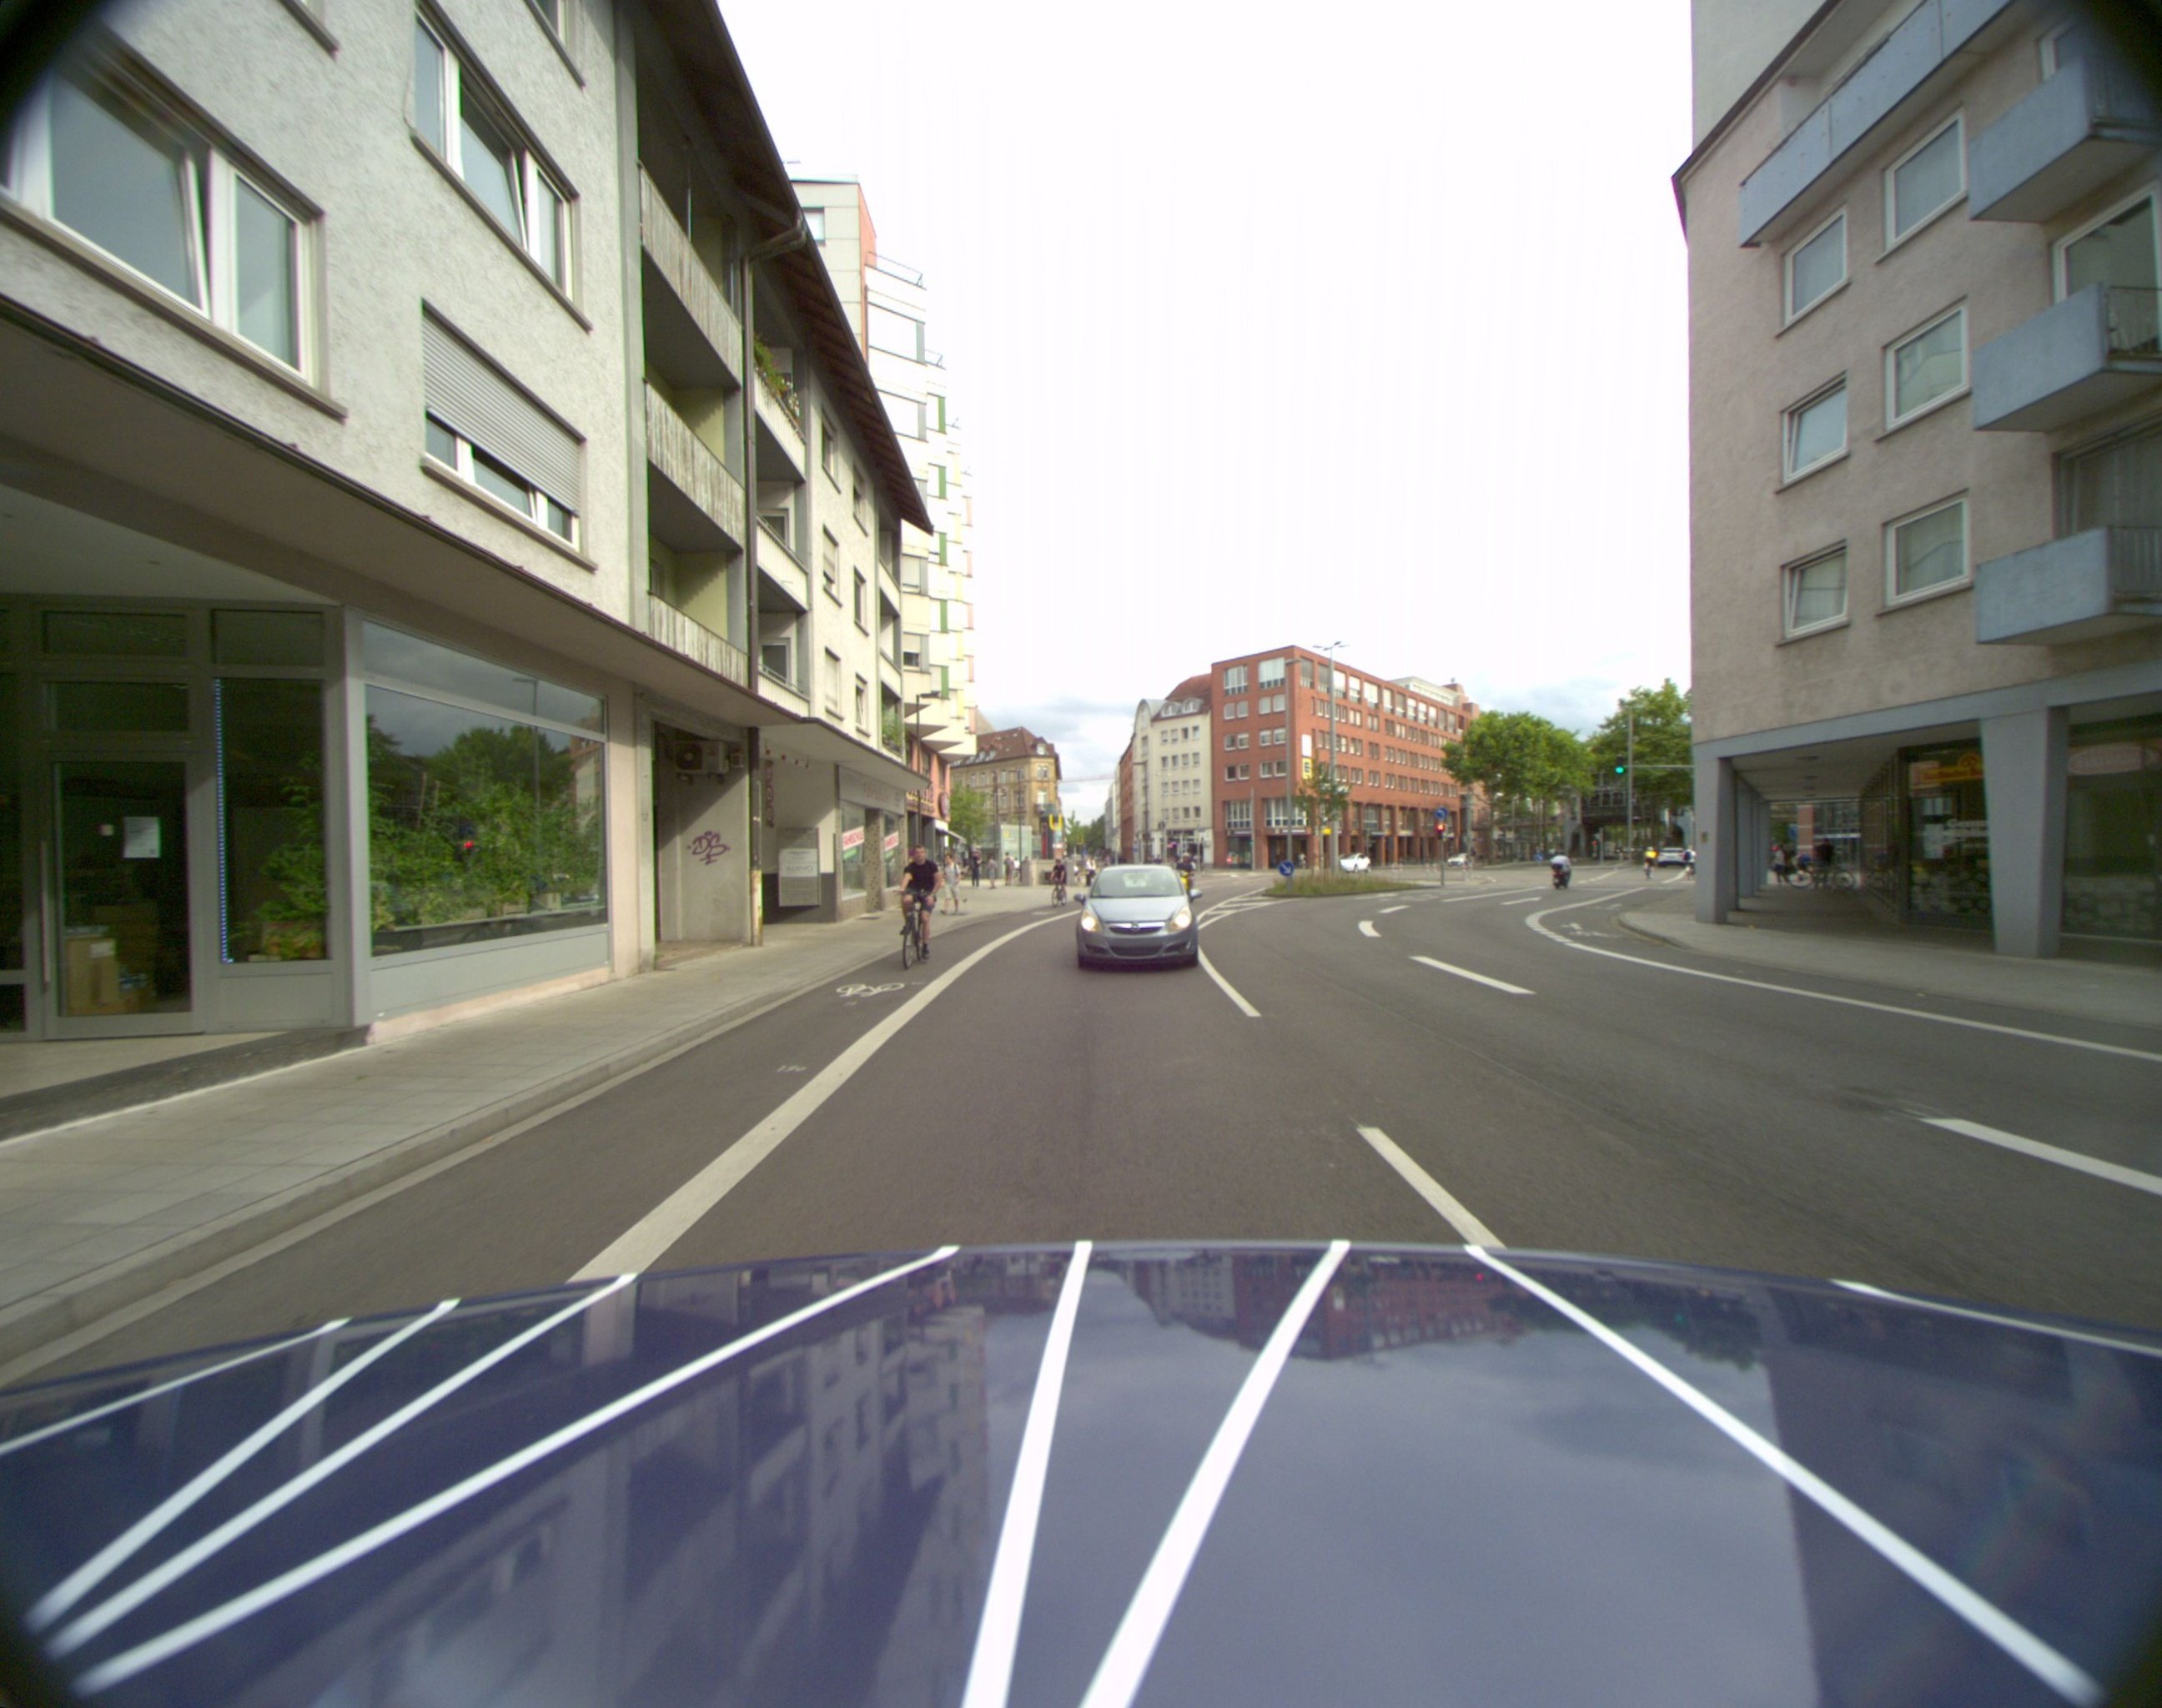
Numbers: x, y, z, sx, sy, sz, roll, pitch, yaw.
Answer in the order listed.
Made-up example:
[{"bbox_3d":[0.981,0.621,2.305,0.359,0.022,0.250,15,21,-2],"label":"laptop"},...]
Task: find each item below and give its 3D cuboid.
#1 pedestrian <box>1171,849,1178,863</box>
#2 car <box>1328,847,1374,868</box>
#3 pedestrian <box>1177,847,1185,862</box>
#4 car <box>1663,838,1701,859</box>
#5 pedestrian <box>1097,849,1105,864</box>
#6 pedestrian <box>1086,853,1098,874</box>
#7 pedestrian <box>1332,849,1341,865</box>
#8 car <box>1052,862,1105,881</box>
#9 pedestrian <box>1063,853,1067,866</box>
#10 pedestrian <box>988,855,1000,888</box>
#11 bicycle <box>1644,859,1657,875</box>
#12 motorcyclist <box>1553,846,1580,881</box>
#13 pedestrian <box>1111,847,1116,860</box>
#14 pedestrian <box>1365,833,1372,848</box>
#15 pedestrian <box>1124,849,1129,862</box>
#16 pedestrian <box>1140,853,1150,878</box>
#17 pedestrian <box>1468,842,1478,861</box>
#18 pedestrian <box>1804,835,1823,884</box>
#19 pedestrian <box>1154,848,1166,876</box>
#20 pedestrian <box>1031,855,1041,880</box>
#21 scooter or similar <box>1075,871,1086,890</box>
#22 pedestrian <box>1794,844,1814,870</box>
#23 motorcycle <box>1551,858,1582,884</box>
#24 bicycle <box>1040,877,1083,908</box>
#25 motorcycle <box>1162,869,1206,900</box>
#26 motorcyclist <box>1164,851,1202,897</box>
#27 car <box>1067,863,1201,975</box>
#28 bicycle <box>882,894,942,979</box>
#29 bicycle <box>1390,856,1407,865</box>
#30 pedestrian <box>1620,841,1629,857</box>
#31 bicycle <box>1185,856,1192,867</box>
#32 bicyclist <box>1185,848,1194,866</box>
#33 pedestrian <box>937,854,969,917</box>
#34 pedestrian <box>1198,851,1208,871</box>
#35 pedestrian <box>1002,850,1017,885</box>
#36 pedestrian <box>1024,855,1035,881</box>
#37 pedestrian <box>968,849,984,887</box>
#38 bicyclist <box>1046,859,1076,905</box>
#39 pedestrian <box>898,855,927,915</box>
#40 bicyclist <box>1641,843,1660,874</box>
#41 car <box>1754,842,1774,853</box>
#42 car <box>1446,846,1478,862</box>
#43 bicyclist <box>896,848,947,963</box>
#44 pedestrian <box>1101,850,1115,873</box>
[{"bbox_3d":[10.246,0.206,83.153,0.593,1.502,0.629,-1,0,-8],"label":"pedestrian"},{"bbox_3d":[21.976,0.271,61.792,1.953,1.592,4.008,-1,0,45],"label":"car"},{"bbox_3d":[10.976,0.040,83.312,0.707,1.638,0.721,-1,0,-8],"label":"pedestrian"},{"bbox_3d":[49.908,-0.460,63.072,4.333,1.650,1.833,-1,0,-44],"label":"car"},{"bbox_3d":[2.438,0.293,90.823,0.606,1.675,0.732,-5,2,-22],"label":"pedestrian"},{"bbox_3d":[0.858,0.751,59.691,0.633,1.685,0.708,0,0,43],"label":"pedestrian"},{"bbox_3d":[25.781,0.293,76.779,0.639,1.677,0.601,0,0,44],"label":"pedestrian"},{"bbox_3d":[-0.220,1.540,67.614,4.590,1.503,2.004,0,2,45],"label":"car"},{"bbox_3d":[-2.052,0.713,97.391,0.424,1.675,0.514,-1,0,-13],"label":"pedestrian"},{"bbox_3d":[-4.352,0.868,38.155,0.473,1.663,0.590,2,0,0],"label":"pedestrian"},{"bbox_3d":[30.208,0.680,40.311,0.409,0.790,2.002,-1,0,41],"label":"bicycle"},{"bbox_3d":[20.789,0.412,32.549,0.796,1.452,0.867,2,2,44],"label":"motorcyclist"},{"bbox_3d":[4.466,-0.079,103.895,0.591,1.712,0.520,-1,1,-6],"label":"pedestrian"},{"bbox_3d":[32.056,-1.492,84.696,0.733,1.623,0.406,-1,2,-38],"label":"pedestrian"},{"bbox_3d":[6.209,0.240,103.937,0.541,1.712,0.519,-1,1,-10],"label":"pedestrian"},{"bbox_3d":[4.616,0.832,54.650,0.675,1.789,0.887,2,0,7],"label":"pedestrian"},{"bbox_3d":[38.561,-0.252,74.745,0.692,1.864,0.808,0,1,45],"label":"pedestrian"},{"bbox_3d":[26.545,0.191,27.545,0.476,1.755,0.590,-1,0,44],"label":"pedestrian"},{"bbox_3d":[5.660,0.545,54.462,0.720,1.959,1.015,2,0,8],"label":"pedestrian"},{"bbox_3d":[-3.324,0.979,56.527,0.489,1.856,0.586,0,-1,40],"label":"pedestrian"},{"bbox_3d":[-0.021,1.736,50.271,0.286,1.205,1.127,-1,0,21],"label":"scooter or similar"},{"bbox_3d":[40.702,0.176,42.772,0.797,1.464,0.686,-1,1,45],"label":"pedestrian"},{"bbox_3d":[20.842,0.723,32.601,0.721,1.088,2.040,2,1,43],"label":"motorcycle"},{"bbox_3d":[-0.689,1.367,27.072,0.488,0.994,1.751,-2,0,39],"label":"bicycle"},{"bbox_3d":[3.500,1.015,25.636,0.569,0.962,2.018,-1,0,35],"label":"motorcycle"},{"bbox_3d":[3.448,0.654,25.556,0.870,1.508,1.046,-1,0,34],"label":"motorcyclist"},{"bbox_3d":[0.833,0.853,11.768,1.723,1.394,4.001,0,0,4],"label":"car"},{"bbox_3d":[-2.546,1.207,11.627,0.407,1.115,2.017,-2,-1,1],"label":"bicycle"},{"bbox_3d":[39.412,0.822,94.303,1.855,1.034,0.509,-1,0,45],"label":"bicycle"},{"bbox_3d":[54.539,-0.479,76.194,0.657,1.529,0.559,-1,2,40],"label":"pedestrian"},{"bbox_3d":[9.418,0.693,66.741,0.542,0.945,1.808,-1,0,5],"label":"bicycle"},{"bbox_3d":[9.513,0.302,66.549,0.745,1.549,0.946,-1,0,6],"label":"bicyclist"},{"bbox_3d":[-3.612,0.862,21.439,0.753,1.740,0.859,0,1,-1],"label":"pedestrian"},{"bbox_3d":[10.736,0.620,66.845,0.567,1.813,0.697,0,0,44],"label":"pedestrian"},{"bbox_3d":[-3.943,0.730,41.928,0.658,1.841,0.971,2,1,3],"label":"pedestrian"},{"bbox_3d":[-3.815,1.030,55.871,0.547,1.856,0.586,0,-1,40],"label":"pedestrian"},{"bbox_3d":[-5.283,0.682,38.270,0.674,1.892,0.590,2,0,0],"label":"pedestrian"},{"bbox_3d":[-0.702,1.006,27.050,0.612,1.594,0.849,-3,-1,38],"label":"bicyclist"},{"bbox_3d":[-4.758,0.860,21.525,0.606,1.659,0.944,-1,1,-2],"label":"pedestrian"},{"bbox_3d":[30.096,0.228,40.136,0.712,1.640,0.973,0,1,43],"label":"bicyclist"},{"bbox_3d":[127.559,-1.160,142.024,2.503,1.936,5.103,-1,0,39],"label":"car"},{"bbox_3d":[40.984,0.013,81.656,1.953,1.592,4.008,-1,0,45],"label":"car"},{"bbox_3d":[-2.450,0.763,11.722,0.560,1.699,0.863,-1,0,1],"label":"bicyclist"},{"bbox_3d":[2.169,0.630,60.929,0.639,1.843,0.879,0,0,44],"label":"pedestrian"}]
